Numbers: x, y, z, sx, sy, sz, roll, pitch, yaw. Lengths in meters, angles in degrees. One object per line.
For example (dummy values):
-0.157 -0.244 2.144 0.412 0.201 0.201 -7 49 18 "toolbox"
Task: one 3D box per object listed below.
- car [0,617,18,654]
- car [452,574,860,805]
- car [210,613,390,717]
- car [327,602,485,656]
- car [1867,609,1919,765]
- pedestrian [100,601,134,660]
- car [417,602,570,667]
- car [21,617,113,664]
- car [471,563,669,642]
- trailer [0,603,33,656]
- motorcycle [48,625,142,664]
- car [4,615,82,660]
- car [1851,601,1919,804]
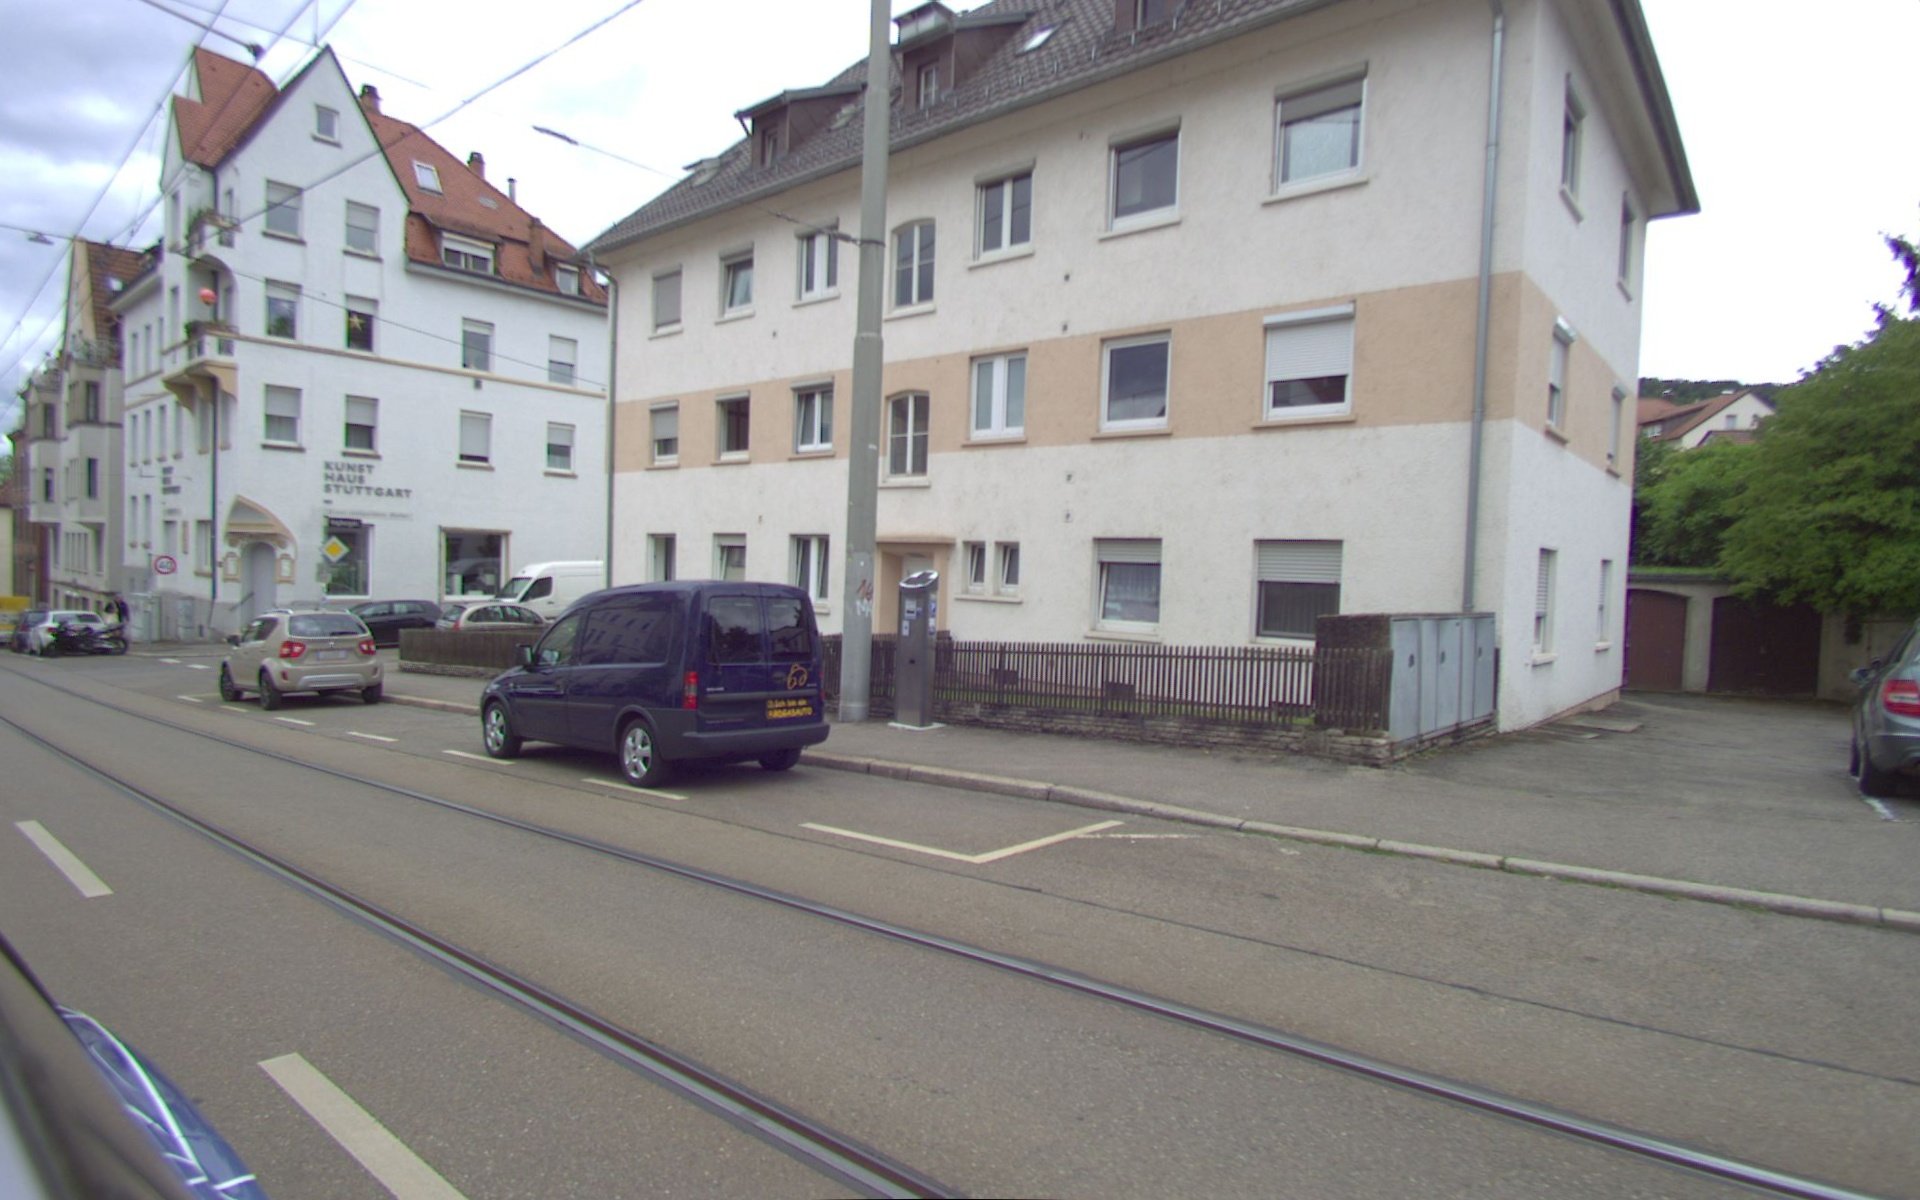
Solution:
-44.005 1.601 45.707 4.266 1.606 1.679 -2 -3 42 "car"
-3.132 0.736 9.853 4.518 1.749 1.725 -1 -2 43 "car"
-11.398 1.026 17.379 3.849 1.568 1.678 -1 0 42 "car"
-17.180 0.851 31.506 1.754 1.475 3.944 -1 1 42 "car"
11.771 1.066 11.602 1.860 1.596 4.294 2 -3 40 "car"
-28.474 1.005 34.194 0.810 1.919 0.583 -1 5 40 "pedestrian"
-13.063 0.917 28.447 1.777 1.503 3.478 6 5 41 "car"
-28.582 1.248 32.362 4.291 1.367 1.761 -1 -1 42 "car"
-13.550 0.019 35.563 2.191 2.551 6.126 -1 1 42 "car"
-40.861 1.249 42.983 4.069 2.172 1.730 -2 -3 41 "trailer"
-26.090 1.328 30.566 2.080 1.143 0.768 1 -2 -36 "motorcycle"
-32.239 1.307 35.579 3.022 1.480 1.679 -1 -3 41 "car"
8.328 0.817 7.953 1.859 1.356 4.294 -1 -5 40 "car"
